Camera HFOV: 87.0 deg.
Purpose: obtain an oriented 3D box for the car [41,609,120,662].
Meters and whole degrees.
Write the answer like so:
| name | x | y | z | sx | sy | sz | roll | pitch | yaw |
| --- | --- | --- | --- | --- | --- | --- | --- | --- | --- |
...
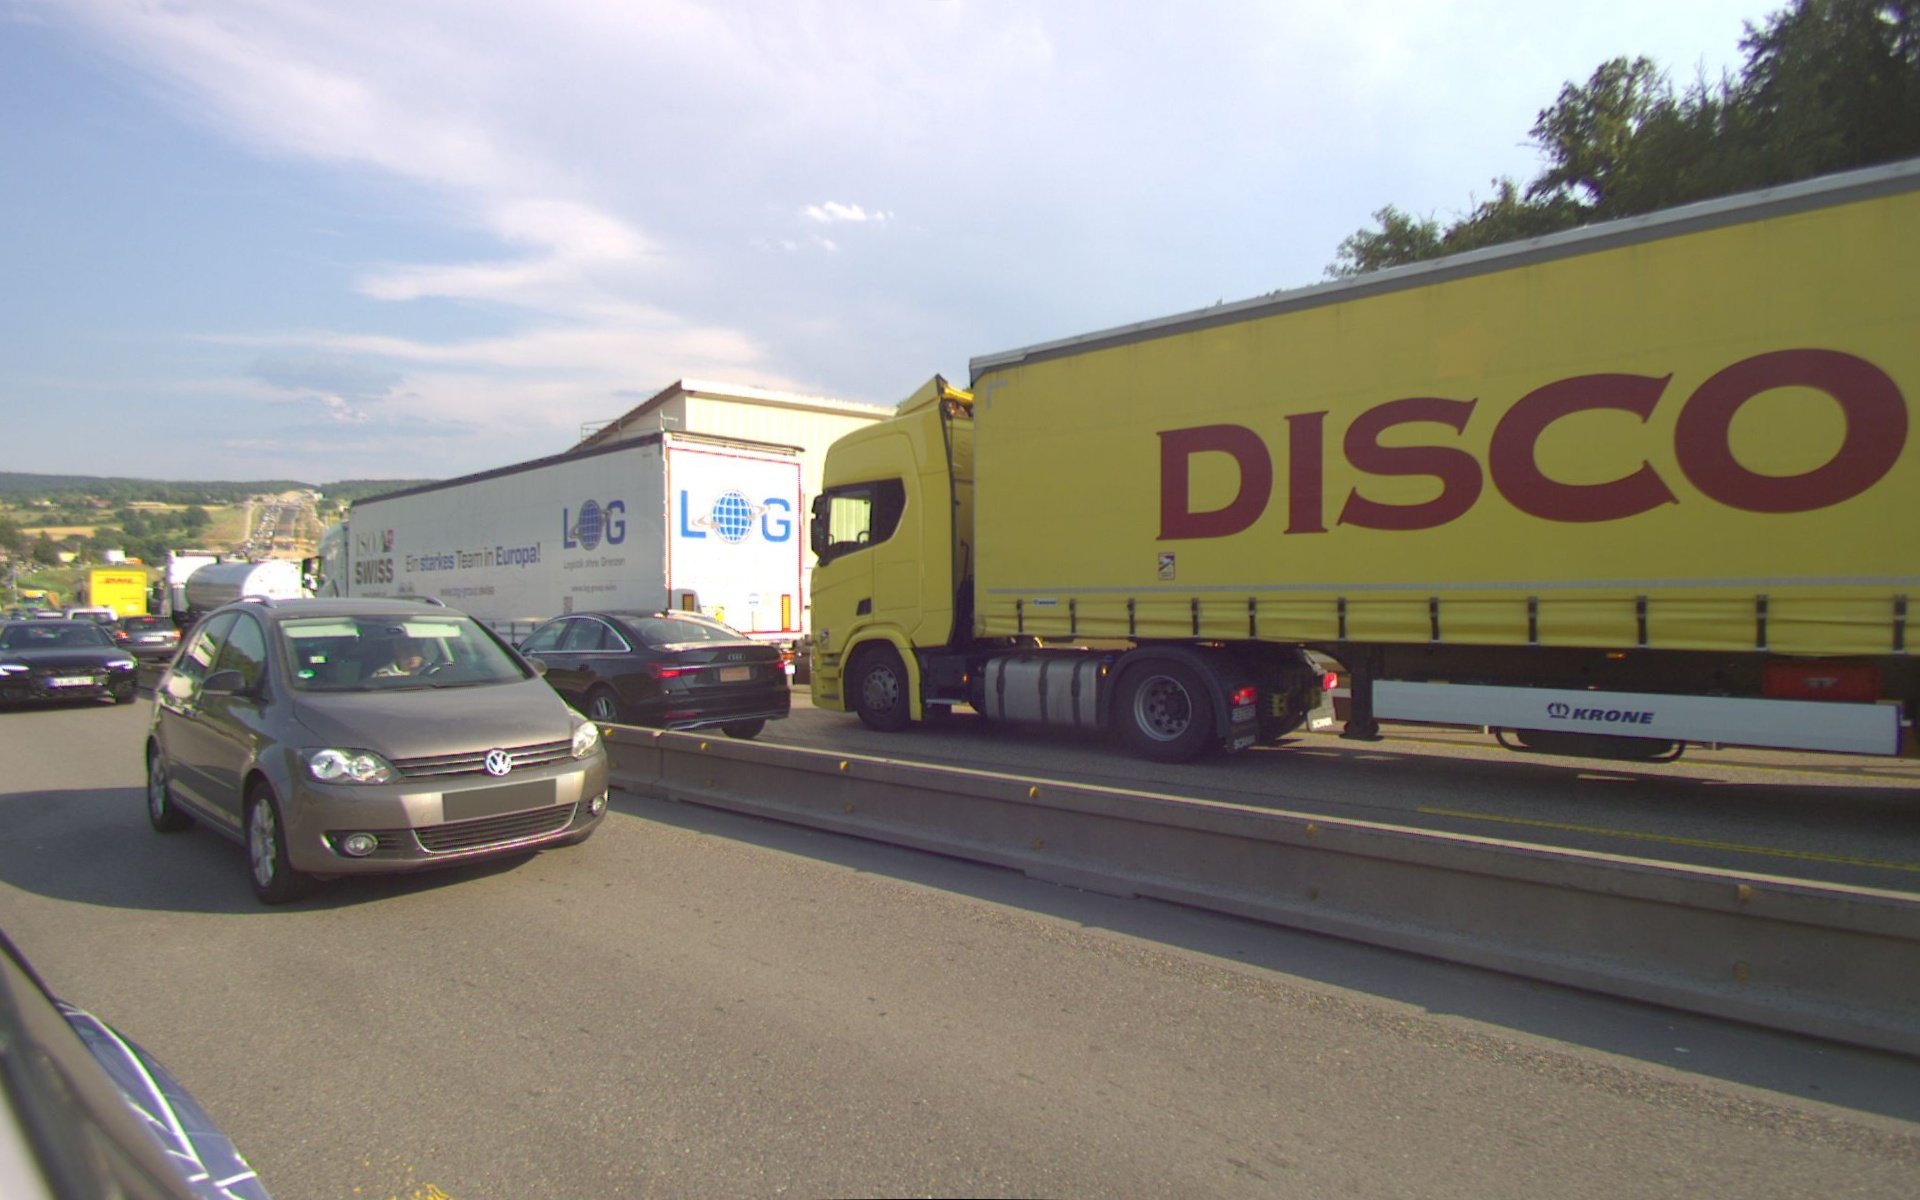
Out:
| name | x | y | z | sx | sy | sz | roll | pitch | yaw |
| --- | --- | --- | --- | --- | --- | --- | --- | --- | --- |
| car | -33.817 | 1.333 | 38.888 | 4.000 | 1.925 | 1.842 | -1 | -1 | 43 |

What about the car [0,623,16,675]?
| name | x | y | z | sx | sy | sz | roll | pitch | yaw |
| --- | --- | --- | --- | --- | --- | --- | --- | --- | --- |
| car | -27.952 | 1.418 | 28.540 | 4.000 | 1.409 | 1.676 | -2 | 0 | 43 |

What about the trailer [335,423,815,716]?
| name | x | y | z | sx | sy | sz | roll | pitch | yaw |
| --- | --- | --- | --- | --- | --- | --- | --- | --- | --- |
| trailer | -8.419 | -0.337 | 19.823 | 13.968 | 4.066 | 2.827 | -1 | -1 | 43 |

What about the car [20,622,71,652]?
| name | x | y | z | sx | sy | sz | roll | pitch | yaw |
| --- | --- | --- | --- | --- | --- | --- | --- | --- | --- |
| car | -50.248 | 2.001 | 55.604 | 4.000 | 1.541 | 1.706 | -1 | 0 | 43 |

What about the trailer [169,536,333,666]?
| name | x | y | z | sx | sy | sz | roll | pitch | yaw |
| --- | --- | --- | --- | --- | --- | --- | --- | --- | --- |
| trailer | -24.677 | 0.101 | 34.903 | 10.578 | 3.910 | 2.568 | -1 | -1 | 43 |

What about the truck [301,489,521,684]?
| name | x | y | z | sx | sy | sz | roll | pitch | yaw |
| --- | --- | --- | --- | --- | --- | --- | --- | --- | --- |
| truck | -13.275 | -0.243 | 24.276 | 6.100 | 4.066 | 2.813 | -1 | -1 | 42 |

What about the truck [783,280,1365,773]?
| name | x | y | z | sx | sy | sz | roll | pitch | yaw |
| --- | --- | --- | --- | --- | --- | --- | --- | --- | --- |
| truck | 1.011 | -0.569 | 11.453 | 6.097 | 4.119 | 2.685 | -1 | -1 | 40 |

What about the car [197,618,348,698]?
| name | x | y | z | sx | sy | sz | roll | pitch | yaw |
| --- | --- | --- | --- | --- | --- | --- | --- | --- | --- |
| car | -14.257 | 1.114 | 20.885 | 4.565 | 1.440 | 1.638 | -1 | 0 | 44 |

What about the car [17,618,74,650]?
| name | x | y | z | sx | sy | sz | roll | pitch | yaw |
| --- | --- | --- | --- | --- | --- | --- | --- | --- | --- |
| car | -44.241 | 1.650 | 48.929 | 4.002 | 1.423 | 1.773 | -1 | -3 | 45 |

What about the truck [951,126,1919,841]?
| name | x | y | z | sx | sy | sz | roll | pitch | yaw |
| --- | --- | --- | --- | --- | --- | --- | --- | --- | --- |
| truck | 6.137 | -0.660 | 7.057 | 14.143 | 4.119 | 2.680 | -1 | -1 | 41 |

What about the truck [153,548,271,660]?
| name | x | y | z | sx | sy | sz | roll | pitch | yaw |
| --- | --- | --- | --- | --- | --- | --- | --- | --- | --- |
| truck | -28.613 | 0.180 | 38.623 | 6.203 | 3.917 | 2.571 | -1 | -1 | 43 |

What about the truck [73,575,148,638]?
| name | x | y | z | sx | sy | sz | roll | pitch | yaw |
| --- | --- | --- | --- | --- | --- | --- | --- | --- | --- |
| truck | -53.655 | 0.413 | 63.841 | 2.860 | 3.738 | 9.495 | 0 | -1 | -45 |

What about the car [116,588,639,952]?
| name | x | y | z | sx | sy | sz | roll | pitch | yaw |
| --- | --- | --- | --- | --- | --- | --- | --- | --- | --- |
| car | -3.886 | 0.763 | 6.417 | 4.098 | 1.585 | 1.666 | -1 | 0 | 42 |

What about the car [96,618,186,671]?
| name | x | y | z | sx | sy | sz | roll | pitch | yaw |
| --- | --- | --- | --- | --- | --- | --- | --- | --- | --- |
| car | -25.468 | 1.346 | 31.435 | 3.690 | 1.521 | 1.640 | -1 | -1 | 43 |

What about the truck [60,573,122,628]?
| name | x | y | z | sx | sy | sz | roll | pitch | yaw |
| --- | --- | --- | --- | --- | --- | --- | --- | --- | --- |
| truck | -64.927 | 0.074 | 75.517 | 2.860 | 3.913 | 9.495 | 0 | -1 | -45 |

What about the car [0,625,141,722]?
| name | x | y | z | sx | sy | sz | roll | pitch | yaw |
| --- | --- | --- | --- | --- | --- | --- | --- | --- | --- |
| car | -15.340 | 1.140 | 17.045 | 4.000 | 1.409 | 1.842 | -1 | -1 | 43 |

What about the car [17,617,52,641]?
| name | x | y | z | sx | sy | sz | roll | pitch | yaw |
| --- | --- | --- | --- | --- | --- | --- | --- | --- | --- |
| car | -64.299 | 2.010 | 70.285 | 1.733 | 1.541 | 4.003 | 0 | 0 | -44 |

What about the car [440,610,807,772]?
| name | x | y | z | sx | sy | sz | roll | pitch | yaw |
| --- | --- | --- | --- | --- | --- | --- | --- | --- | --- |
| car | -3.953 | 0.867 | 11.434 | 4.670 | 1.436 | 1.789 | -1 | 0 | 41 |
